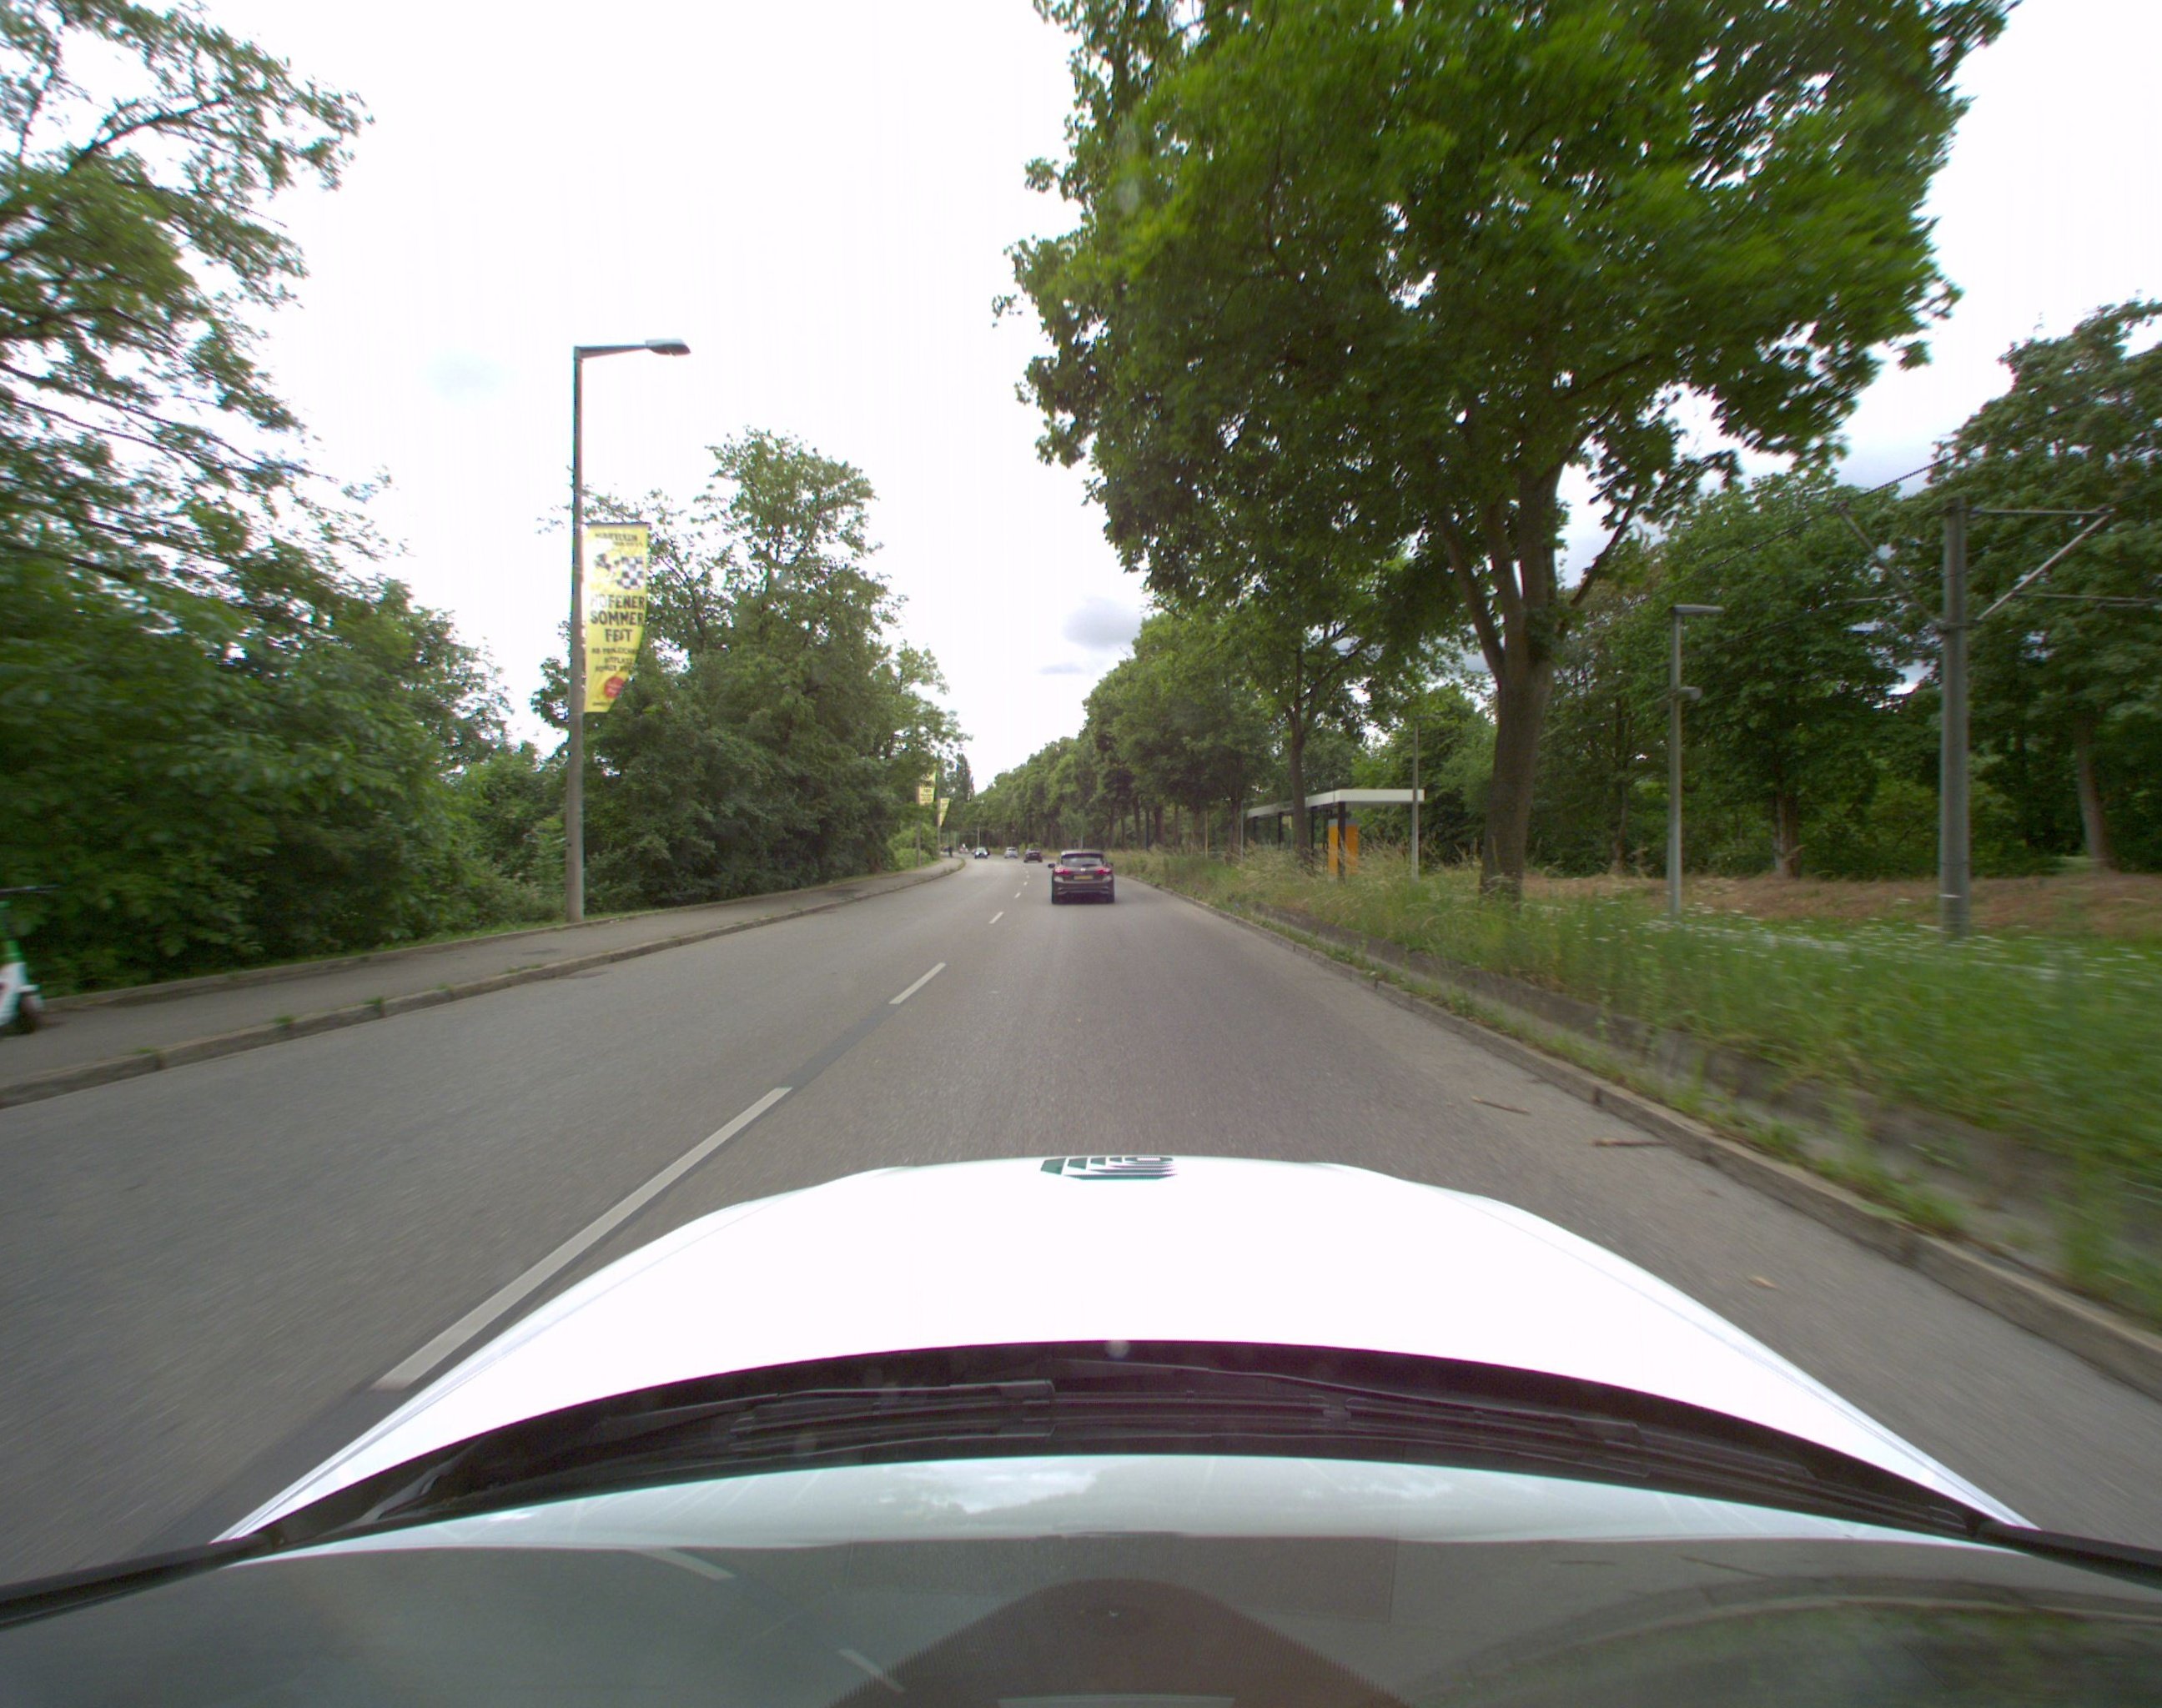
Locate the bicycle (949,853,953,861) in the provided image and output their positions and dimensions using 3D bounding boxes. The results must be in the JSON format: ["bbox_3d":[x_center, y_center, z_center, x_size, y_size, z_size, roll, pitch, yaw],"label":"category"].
[{"bbox_3d":[-17.586,0.385,109.940,0.488,1.030,1.121,2,1,-9],"label":"bicycle"}]

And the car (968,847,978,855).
[{"bbox_3d":[-21.565,-0.553,162.401,1.773,1.472,3.993,1,1,-6],"label":"car"}]

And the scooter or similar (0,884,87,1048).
[{"bbox_3d":[-8.212,0.845,6.077,0.365,1.184,1.289,1,0,-19],"label":"scooter or similar"}]

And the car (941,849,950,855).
[{"bbox_3d":[-34.924,-0.521,209.221,1.780,1.472,3.977,2,1,-17],"label":"car"}]

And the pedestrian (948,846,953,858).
[{"bbox_3d":[-17.574,-0.263,109.906,0.617,1.571,0.846,2,1,-10],"label":"pedestrian"}]

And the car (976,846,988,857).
[{"bbox_3d":[-13.770,-0.301,113.312,1.594,1.506,3.021,-1,0,-7],"label":"car"}]

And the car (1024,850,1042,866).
[{"bbox_3d":[-4.949,0.412,84.662,1.772,1.472,3.996,2,1,-3],"label":"car"}]

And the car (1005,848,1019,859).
[{"bbox_3d":[-9.611,-0.118,113.676,1.772,1.472,3.995,2,1,-4],"label":"car"}]

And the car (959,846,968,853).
[{"bbox_3d":[-26.385,-0.951,183.162,1.777,1.472,3.985,2,1,-12],"label":"car"}]

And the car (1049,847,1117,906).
[{"bbox_3d":[-0.018,0.584,24.066,1.811,1.508,3.997,-1,1,-2],"label":"car"}]
